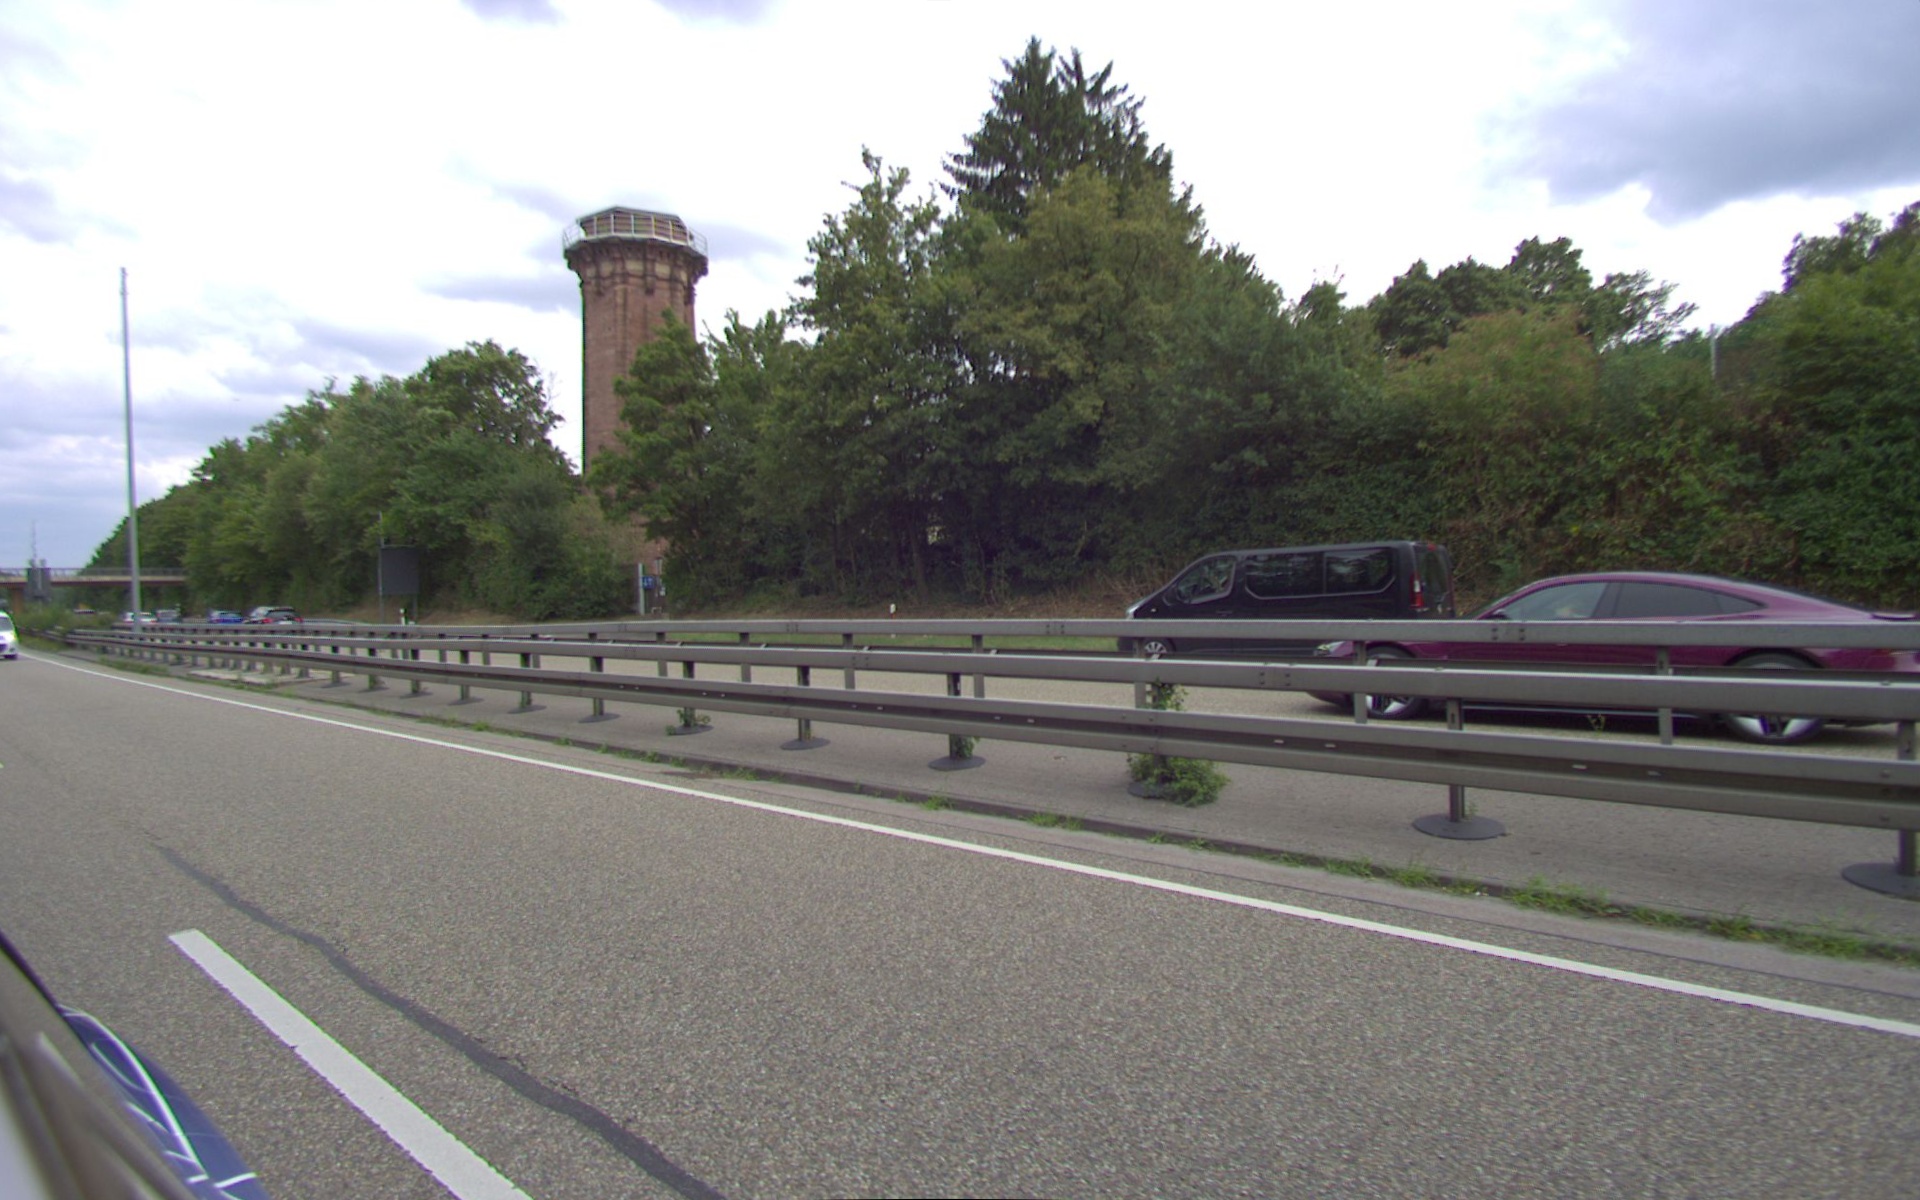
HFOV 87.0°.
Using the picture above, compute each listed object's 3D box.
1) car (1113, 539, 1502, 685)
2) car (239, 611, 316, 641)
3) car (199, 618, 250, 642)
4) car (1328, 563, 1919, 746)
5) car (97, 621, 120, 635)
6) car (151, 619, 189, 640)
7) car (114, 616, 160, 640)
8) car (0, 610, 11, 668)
[{"bbox_3d":[4.999,0.186,15.092,5.121,1.817,2.014,-1,-1,41],"label":"car"},{"bbox_3d":[-31.659,1.171,46.902,4.066,1.309,1.957,-1,-1,41],"label":"car"},{"bbox_3d":[-46.031,1.843,63.283,4.056,1.461,1.792,-1,-1,42],"label":"car"},{"bbox_3d":[5.903,0.409,8.969,4.711,1.288,1.638,-1,-1,41],"label":"car"},{"bbox_3d":[-99.160,3.259,117.865,3.727,1.519,1.611,-1,-1,42],"label":"car"},{"bbox_3d":[-60.996,2.254,78.109,4.131,1.613,1.712,-1,-1,43],"label":"car"},{"bbox_3d":[-52.032,1.759,63.970,4.056,1.438,1.693,-1,-1,42],"label":"car"},{"bbox_3d":[-35.598,1.389,36.550,1.796,2.020,4.426,0,-1,-45],"label":"car"}]
